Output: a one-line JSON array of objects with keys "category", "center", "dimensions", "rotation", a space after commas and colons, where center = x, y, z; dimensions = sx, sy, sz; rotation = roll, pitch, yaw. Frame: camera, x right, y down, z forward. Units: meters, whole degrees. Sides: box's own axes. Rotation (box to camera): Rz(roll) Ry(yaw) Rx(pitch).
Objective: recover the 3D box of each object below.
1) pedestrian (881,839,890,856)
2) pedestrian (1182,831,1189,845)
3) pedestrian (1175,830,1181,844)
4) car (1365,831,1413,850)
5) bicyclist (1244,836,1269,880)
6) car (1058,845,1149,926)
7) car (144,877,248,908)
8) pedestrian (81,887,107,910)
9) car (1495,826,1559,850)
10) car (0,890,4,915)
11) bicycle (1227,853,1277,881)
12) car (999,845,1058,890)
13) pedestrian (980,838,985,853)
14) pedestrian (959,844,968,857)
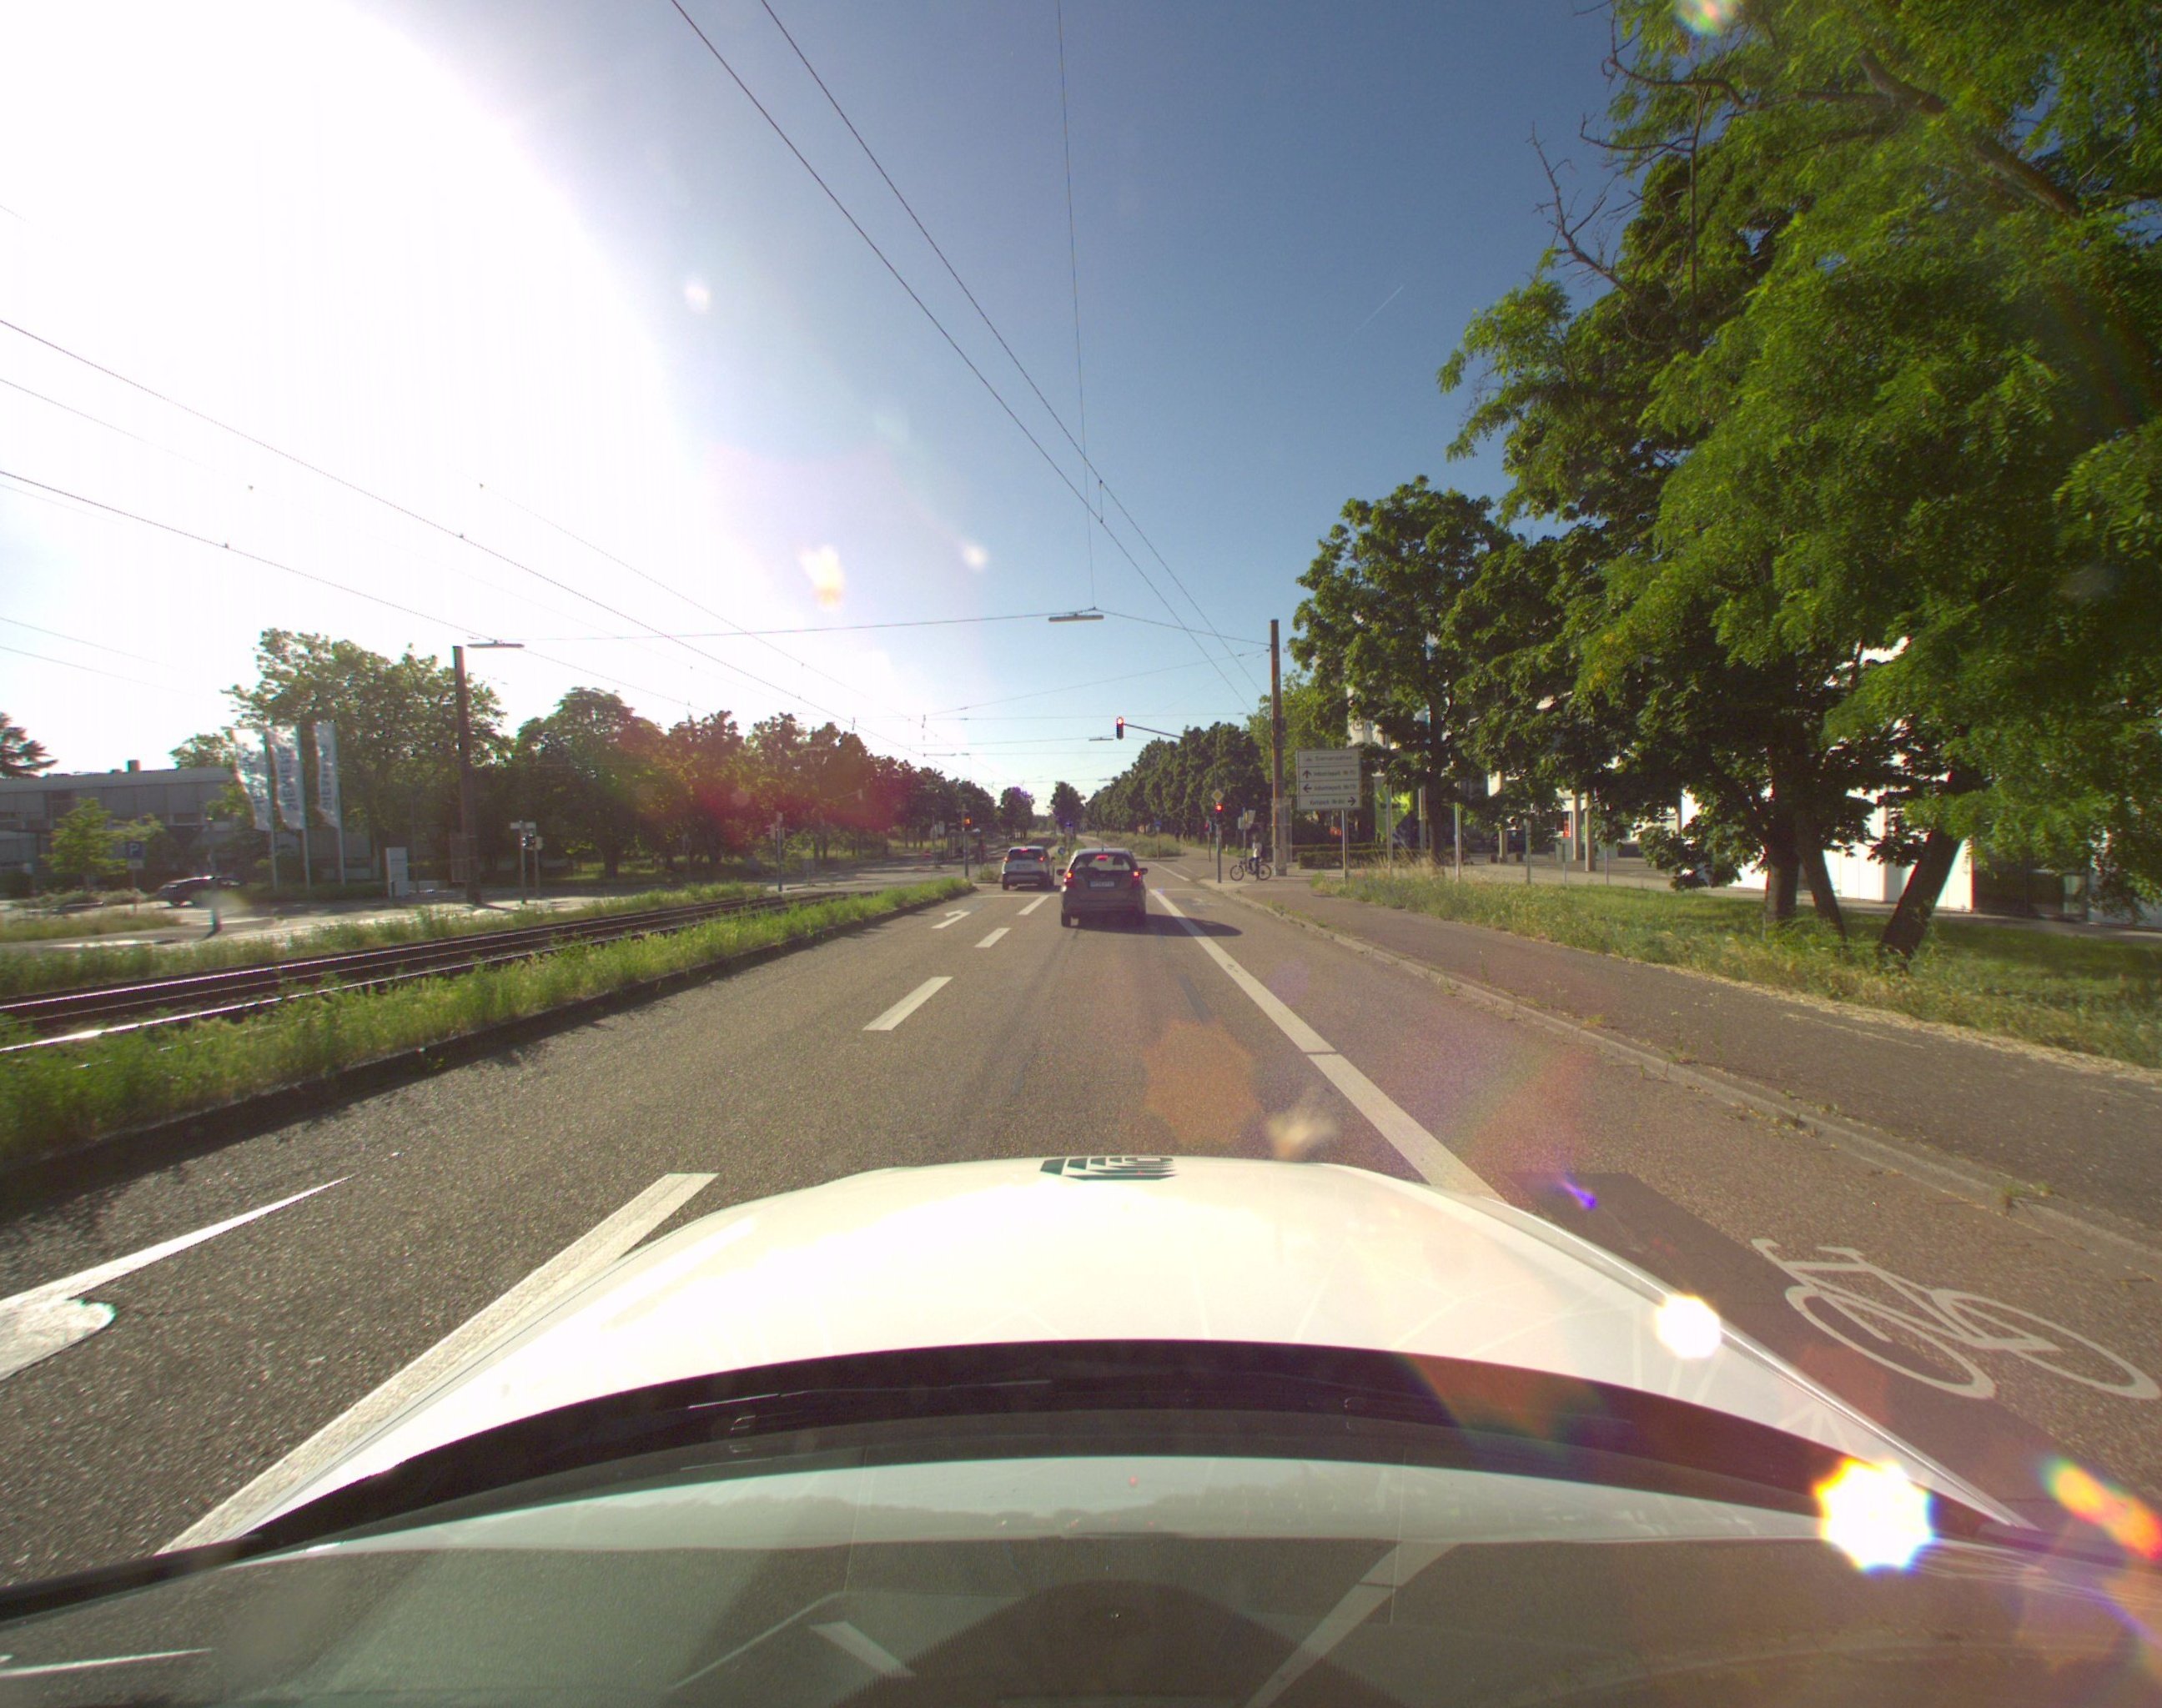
[{"category": "pedestrian", "center": [-23.178, -0.726, 96.602], "dimensions": [0.837, 2.013, 0.863], "rotation": [-1, 0, 0]}, {"category": "pedestrian", "center": [11.918, -1.852, 92.569], "dimensions": [0.676, 1.610, 0.720], "rotation": [0, 0, 0]}, {"category": "pedestrian", "center": [11.012, -1.880, 92.563], "dimensions": [0.565, 1.596, 0.665], "rotation": [0, 0, -2]}, {"category": "car", "center": [30.417, -1.330, 80.409], "dimensions": [3.988, 1.757, 1.993], "rotation": [-1, 1, -11]}, {"category": "bicyclist", "center": [7.169, 0.148, 33.234], "dimensions": [0.904, 1.745, 0.767], "rotation": [-3, 0, 13]}, {"category": "car", "center": [0.517, 0.578, 17.348], "dimensions": [1.700, 1.508, 4.003], "rotation": [-1, 0, 3]}, {"category": "car", "center": [-50.628, 2.171, 46.712], "dimensions": [1.685, 1.488, 3.863], "rotation": [-1, 1, 1]}, {"category": "pedestrian", "center": [-67.092, 3.027, 55.357], "dimensions": [0.757, 1.529, 0.826], "rotation": [-1, 0, 12]}, {"category": "car", "center": [34.530, -1.224, 63.133], "dimensions": [3.984, 1.720, 1.895], "rotation": [-1, 1, -8]}, {"category": "car", "center": [-63.319, 2.829, 45.153], "dimensions": [1.680, 1.452, 3.965], "rotation": [-1, 1, 11]}, {"category": "bicycle", "center": [6.981, 0.527, 33.279], "dimensions": [1.907, 0.998, 0.767], "rotation": [-3, 0, 12]}, {"category": "car", "center": [-1.943, 0.466, 31.435], "dimensions": [1.844, 1.606, 4.256], "rotation": [-1, 0, 2]}, {"category": "pedestrian", "center": [-11.489, -1.015, 94.697], "dimensions": [0.502, 1.675, 0.386], "rotation": [-1, 0, -10]}, {"category": "pedestrian", "center": [-11.552, -0.338, 80.109], "dimensions": [0.718, 1.246, 0.711], "rotation": [-2, 1, 0]}]
